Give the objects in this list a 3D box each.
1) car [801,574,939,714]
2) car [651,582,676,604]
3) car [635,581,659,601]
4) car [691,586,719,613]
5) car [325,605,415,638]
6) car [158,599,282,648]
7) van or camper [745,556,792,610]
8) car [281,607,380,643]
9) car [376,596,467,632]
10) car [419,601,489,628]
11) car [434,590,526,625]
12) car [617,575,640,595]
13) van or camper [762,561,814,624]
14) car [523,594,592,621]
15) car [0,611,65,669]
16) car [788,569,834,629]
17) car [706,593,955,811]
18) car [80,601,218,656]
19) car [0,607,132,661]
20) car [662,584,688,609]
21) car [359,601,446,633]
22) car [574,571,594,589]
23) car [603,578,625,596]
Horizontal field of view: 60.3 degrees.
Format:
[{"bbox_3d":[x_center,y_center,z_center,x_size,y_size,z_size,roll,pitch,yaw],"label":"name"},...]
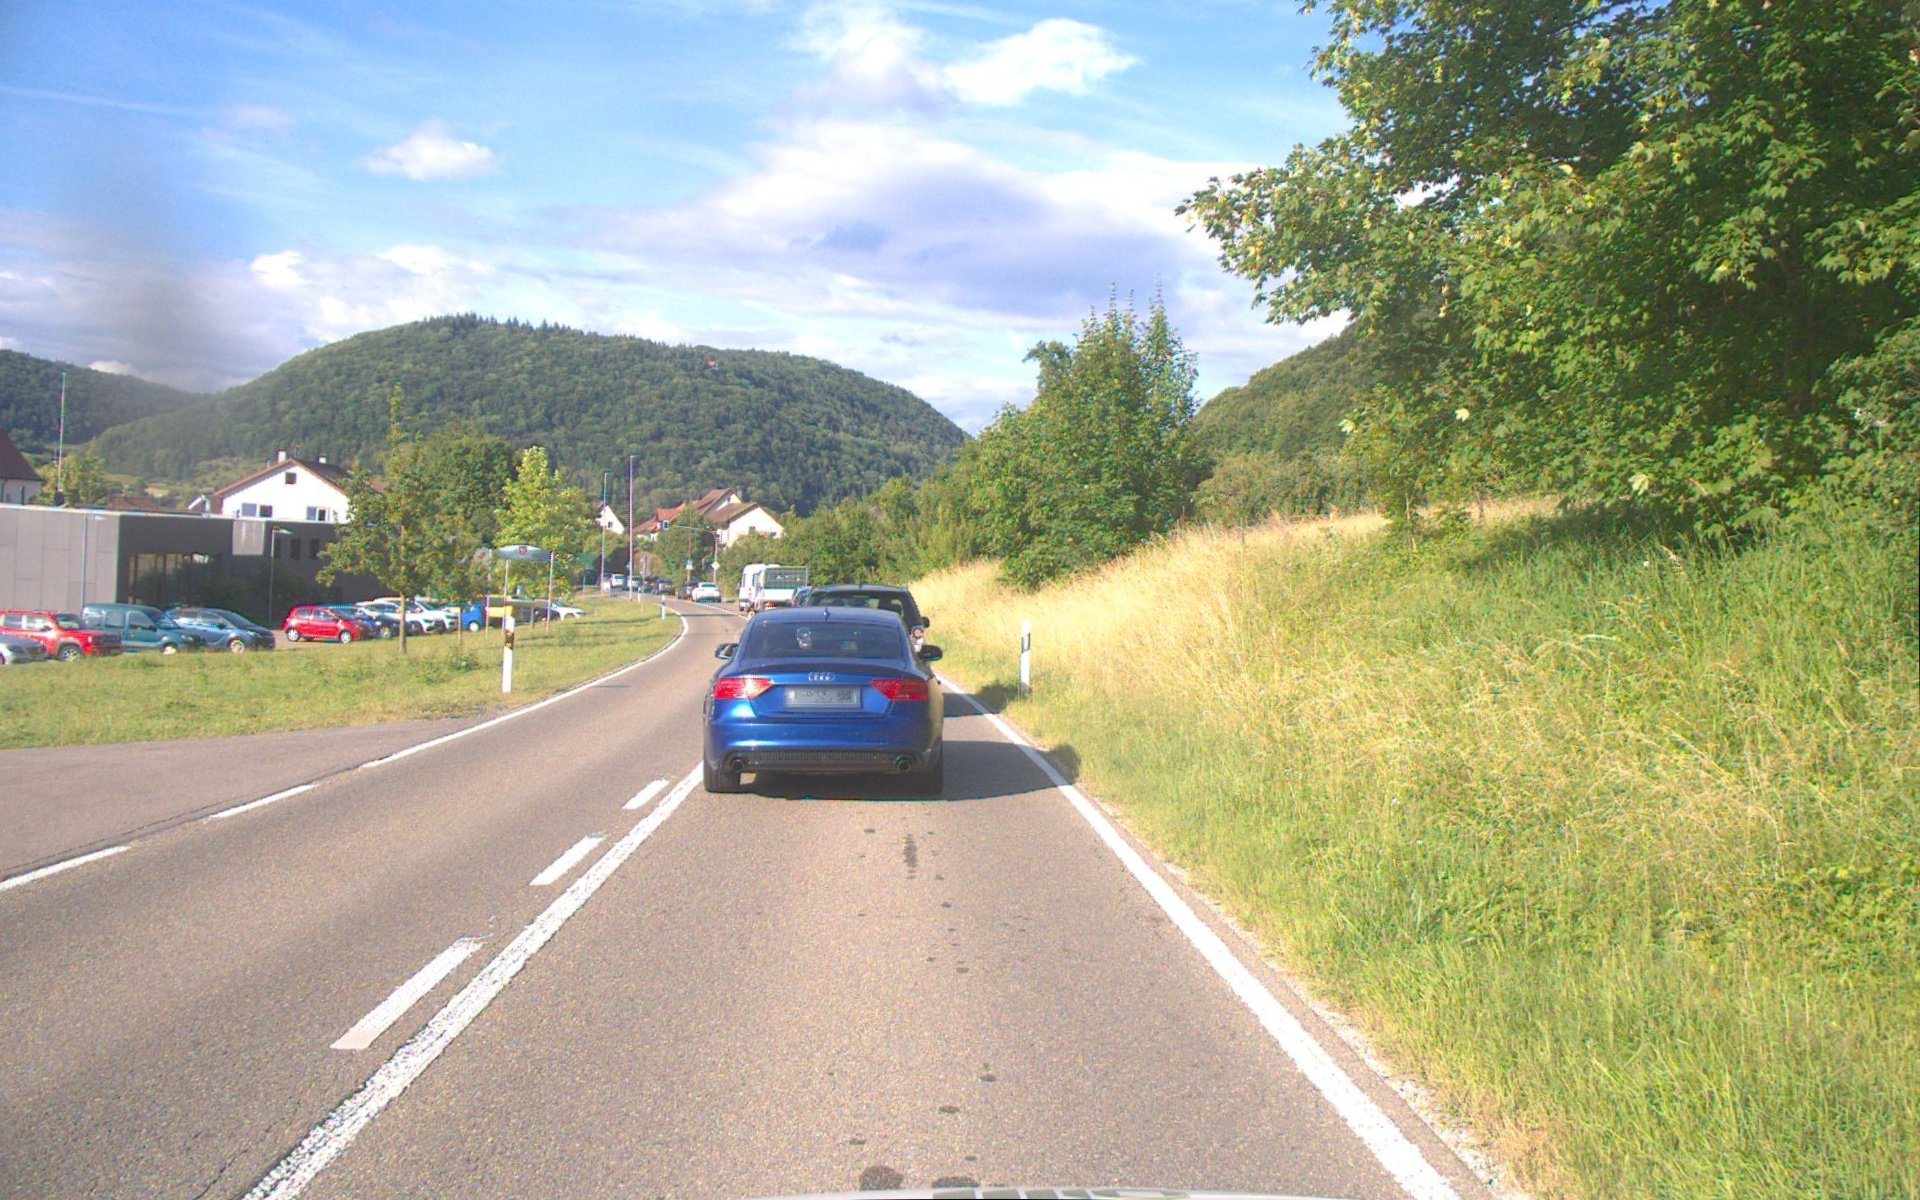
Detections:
[{"bbox_3d":[-1.220,0.526,21.733,1.613,1.653,3.513,2,0,-5],"label":"car"},{"bbox_3d":[-26.804,-0.599,149.392,1.635,1.958,3.977,0,0,-19],"label":"car"},{"bbox_3d":[-30.103,-0.855,159.072,1.653,1.958,3.975,0,0,-21],"label":"car"},{"bbox_3d":[-18.722,-0.042,121.205,1.632,1.958,3.984,0,0,-15],"label":"car"},{"bbox_3d":[-27.070,0.993,75.958,3.549,1.430,1.597,0,-3,3],"label":"car"},{"bbox_3d":[-27.154,0.846,60.750,3.739,1.752,1.732,0,0,2],"label":"car"},{"bbox_3d":[-10.147,-0.878,87.154,2.238,2.761,5.755,0,0,-9],"label":"van or camper"},{"bbox_3d":[-26.956,1.052,70.889,3.549,1.469,1.649,0,0,3],"label":"car"},{"bbox_3d":[-26.817,0.703,82.415,3.992,1.702,1.597,0,2,3],"label":"car"},{"bbox_3d":[-27.028,0.778,88.454,3.303,1.397,1.658,0,0,-5],"label":"car"},{"bbox_3d":[-26.380,0.402,90.950,4.458,1.846,1.842,0,0,3],"label":"car"},{"bbox_3d":[-33.771,-1.505,168.464,1.653,1.958,3.973,0,0,-22],"label":"car"},{"bbox_3d":[-7.293,-0.314,69.677,2.013,2.549,5.801,0,0,-7],"label":"van or camper"},{"bbox_3d":[-25.703,0.455,105.759,3.951,1.689,1.656,0,0,3],"label":"car"},{"bbox_3d":[-28.565,1.122,47.608,4.544,1.616,2.000,0,0,2],"label":"car"},{"bbox_3d":[-5.319,-0.047,58.736,1.537,2.049,3.994,0,0,-7],"label":"car"},{"bbox_3d":[-0.967,0.694,13.173,1.707,1.476,3.515,0,0,-3],"label":"car"},{"bbox_3d":[-27.488,0.959,56.160,3.782,1.752,1.756,1,0,-1],"label":"car"},{"bbox_3d":[-27.618,1.031,50.451,3.838,1.606,1.756,0,0,2],"label":"car"},{"bbox_3d":[-22.736,-0.254,131.844,1.633,1.958,3.982,0,0,-16],"label":"car"},{"bbox_3d":[-26.680,0.823,79.188,3.589,1.520,1.597,0,-1,3],"label":"car"},{"bbox_3d":[-43.985,-2.336,193.468,1.653,1.958,3.973,0,0,-22],"label":"car"},{"bbox_3d":[-37.168,-1.404,177.454,1.653,1.958,3.973,0,0,-22],"label":"car"}]
